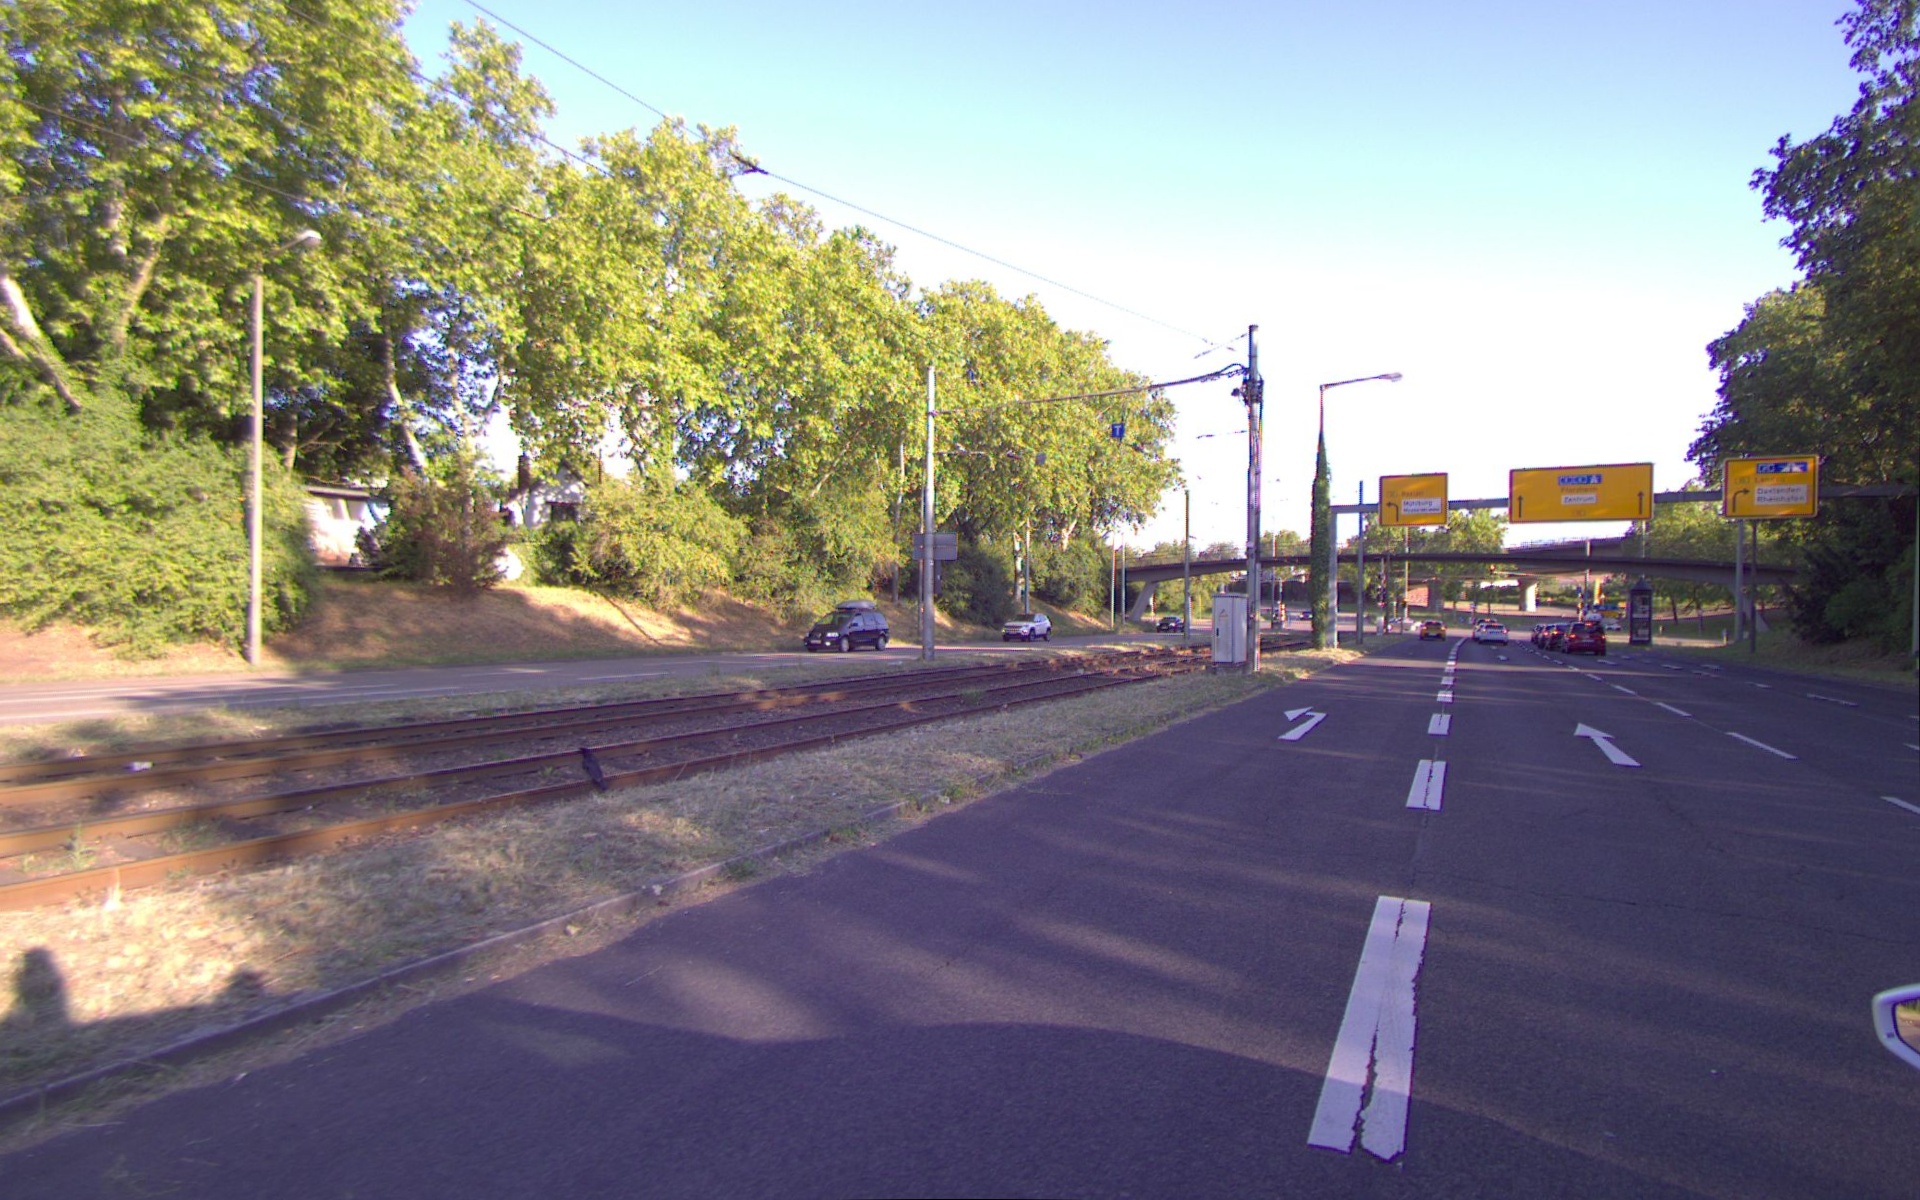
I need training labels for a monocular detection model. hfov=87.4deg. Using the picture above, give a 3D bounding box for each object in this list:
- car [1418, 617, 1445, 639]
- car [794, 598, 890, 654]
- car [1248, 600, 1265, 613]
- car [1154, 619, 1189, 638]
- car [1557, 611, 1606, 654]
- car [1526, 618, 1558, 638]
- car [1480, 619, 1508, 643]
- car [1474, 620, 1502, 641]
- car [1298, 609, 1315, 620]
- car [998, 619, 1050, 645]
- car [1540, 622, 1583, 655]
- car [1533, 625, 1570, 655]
[{"bbox_3d":[34.854,2.053,74.213,1.637,1.586,3.995,-1,-1,27],"label":"car"},{"bbox_3d":[-4.827,1.066,41.657,1.964,2.191,4.185,-1,-1,28],"label":"car"},{"bbox_3d":[43.704,0.935,148.055,1.849,1.795,3.996,2,1,26],"label":"car"},{"bbox_3d":[19.012,2.538,90.234,1.964,1.703,4.185,-1,-1,28],"label":"car"},{"bbox_3d":[31.927,1.619,51.654,1.765,2.133,3.995,-1,-1,27],"label":"car"},{"bbox_3d":[43.380,2.073,74.914,1.765,1.401,4.470,-1,-1,27],"label":"car"},{"bbox_3d":[36.868,2.119,69.431,1.637,1.586,4.185,-1,-1,27],"label":"car"},{"bbox_3d":[39.781,2.271,75.661,1.716,1.451,4.404,2,1,29],"label":"car"},{"bbox_3d":[51.946,2.203,150.577,1.849,1.596,3.671,2,1,26],"label":"car"},{"bbox_3d":[3.835,1.886,59.551,1.961,1.460,4.190,-1,-1,21],"label":"car"},{"bbox_3d":[34.432,2.171,57.575,1.765,1.773,4.235,-1,-1,27],"label":"car"},{"bbox_3d":[37.104,2.511,63.076,1.765,1.773,3.995,-1,-1,27],"label":"car"}]
